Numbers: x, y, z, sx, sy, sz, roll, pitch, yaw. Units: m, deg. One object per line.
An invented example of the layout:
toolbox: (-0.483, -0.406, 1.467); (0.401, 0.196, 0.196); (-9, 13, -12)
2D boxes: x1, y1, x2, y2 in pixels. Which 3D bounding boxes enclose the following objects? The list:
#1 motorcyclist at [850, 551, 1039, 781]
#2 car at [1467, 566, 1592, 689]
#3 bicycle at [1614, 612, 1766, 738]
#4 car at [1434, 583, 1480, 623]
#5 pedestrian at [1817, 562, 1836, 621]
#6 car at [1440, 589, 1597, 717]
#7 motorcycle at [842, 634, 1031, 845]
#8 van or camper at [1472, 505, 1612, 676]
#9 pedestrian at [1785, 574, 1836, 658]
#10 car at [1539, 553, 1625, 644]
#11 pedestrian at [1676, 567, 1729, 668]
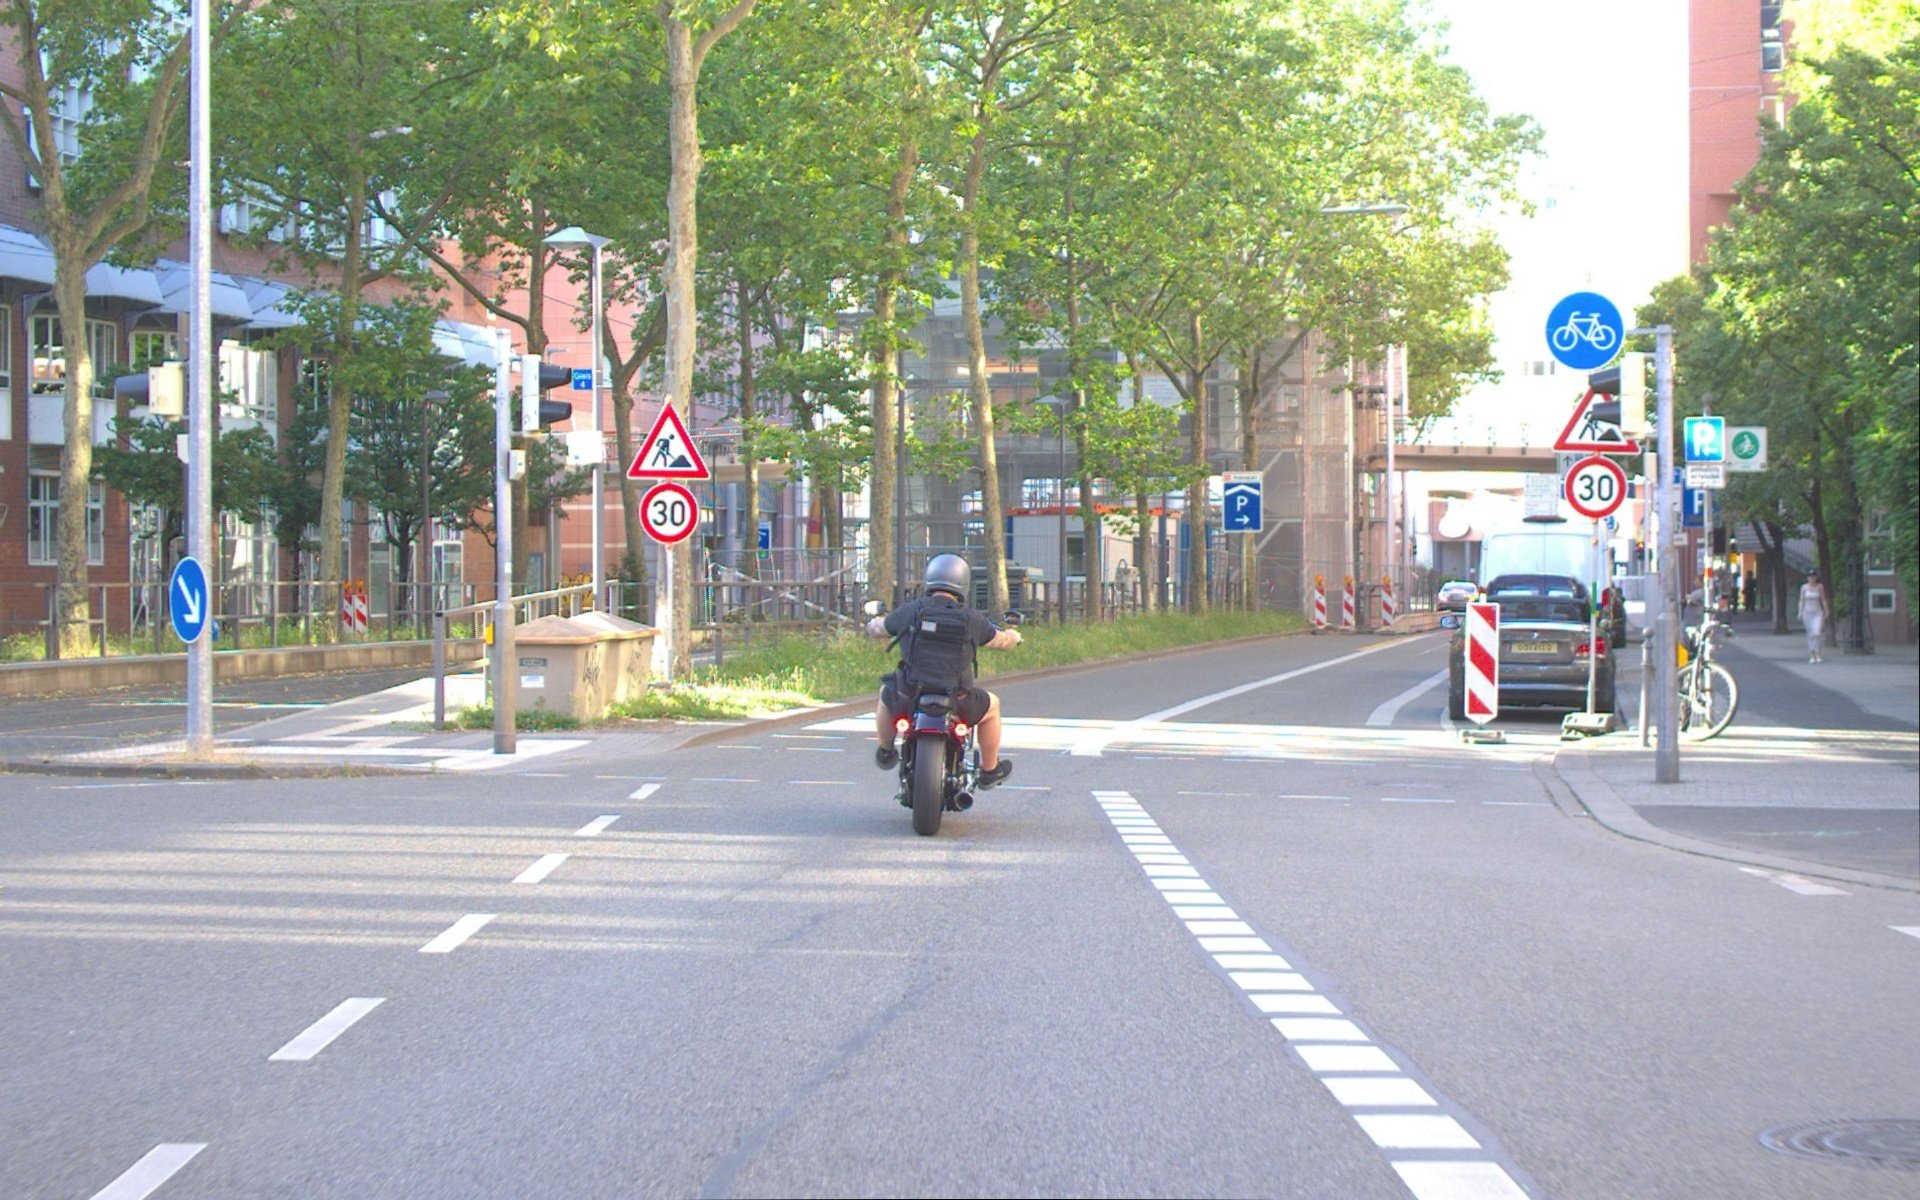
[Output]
motorcyclist: (-0.080, 0.366, 19.761); (1.012, 1.258, 0.774); (2, 1, 2)
car: (7.878, 0.338, 47.559); (1.621, 1.614, 4.483); (0, 1, 9)
bicycle: (6.444, 0.649, 30.447); (0.737, 1.049, 1.752); (0, 1, -9)
car: (21.622, 0.120, 149.592); (1.852, 1.711, 3.999); (0, 0, 7)
pedestrian: (23.679, -0.228, 93.931); (0.449, 1.621, 0.375); (0, 0, 5)
car: (6.157, 0.545, 38.094); (1.621, 1.298, 4.310); (0, 1, 8)
motorcycle: (-0.109, 0.767, 19.695); (1.018, 1.093, 2.007); (0, 1, 1)
van or camper: (9.146, -0.169, 53.971); (2.049, 2.532, 5.770); (0, 1, 10)
pedestrian: (14.781, 0.280, 59.768); (0.765, 1.440, 0.780); (1, 0, 9)
car: (14.049, -0.048, 77.813); (1.836, 2.007, 4.386); (0, 1, 9)
pedestrian: (12.097, 0.275, 56.042); (0.762, 1.639, 0.547); (0, 0, 3)
